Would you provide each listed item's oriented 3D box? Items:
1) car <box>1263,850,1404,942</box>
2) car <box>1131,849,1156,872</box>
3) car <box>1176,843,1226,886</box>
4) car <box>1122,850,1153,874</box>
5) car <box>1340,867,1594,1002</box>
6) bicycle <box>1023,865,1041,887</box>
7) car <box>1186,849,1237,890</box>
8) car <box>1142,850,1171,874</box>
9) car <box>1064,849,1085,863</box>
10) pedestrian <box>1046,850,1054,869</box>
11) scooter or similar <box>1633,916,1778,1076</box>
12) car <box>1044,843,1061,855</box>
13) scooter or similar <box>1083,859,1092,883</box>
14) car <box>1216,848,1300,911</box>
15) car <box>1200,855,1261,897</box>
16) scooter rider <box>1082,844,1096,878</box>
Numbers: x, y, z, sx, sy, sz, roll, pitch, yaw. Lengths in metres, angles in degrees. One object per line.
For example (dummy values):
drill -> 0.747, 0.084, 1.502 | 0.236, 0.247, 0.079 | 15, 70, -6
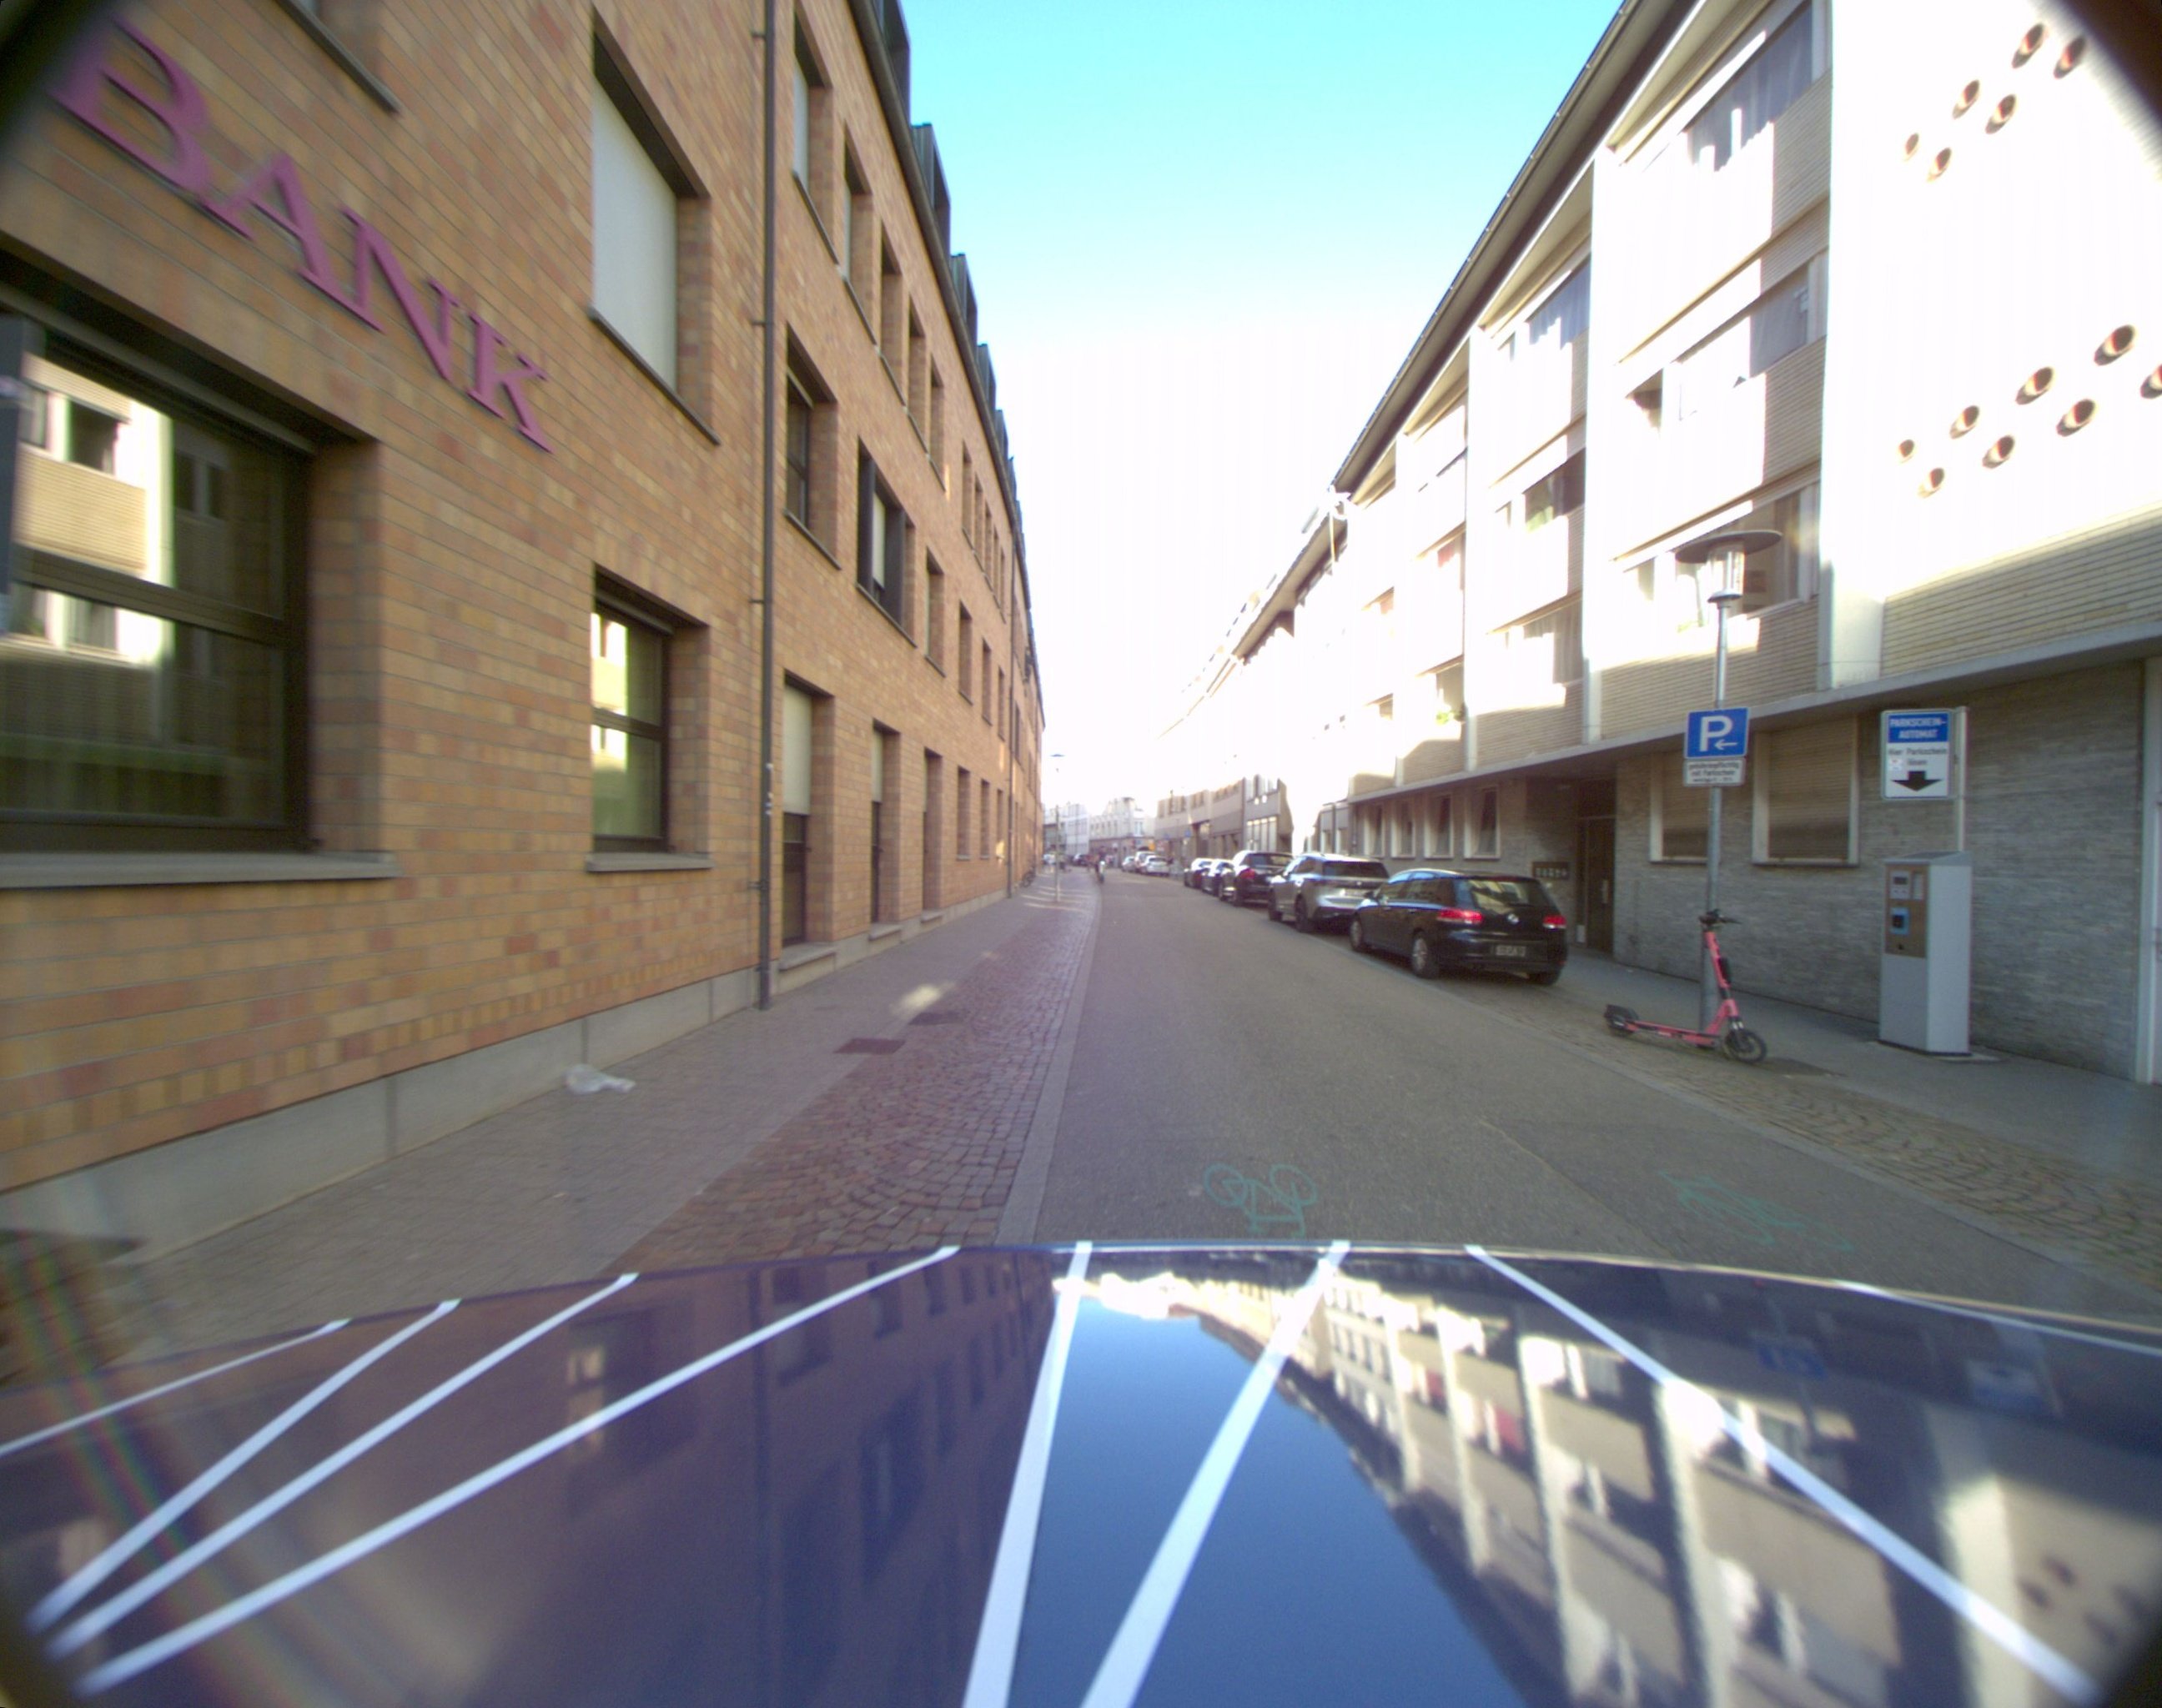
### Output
car -> 5.231, 0.780, 16.321 | 1.672, 1.651, 4.081 | 3, 0, 2
car -> 5.147, 0.552, 62.956 | 1.692, 1.765, 3.655 | 3, 0, 0
car -> 6.142, 0.497, 39.341 | 1.998, 2.002, 4.000 | 3, 0, 2
car -> 5.094, 0.715, 69.065 | 2.000, 2.002, 3.997 | 3, 0, -5
car -> 5.236, 0.985, 10.951 | 1.739, 1.477, 3.812 | 3, 0, 2
bicycle -> -2.154, 0.957, 33.780 | 0.643, 0.876, 2.556 | 2, 1, -1
car -> 5.951, 0.658, 35.124 | 1.672, 1.694, 4.013 | 3, 0, 2
car -> 5.638, 0.581, 57.083 | 1.692, 1.669, 3.507 | 3, 0, 0
car -> -0.880, 0.237, 99.114 | 1.936, 1.641, 3.832 | 1, 1, -12
pedestrian -> -2.605, 0.443, 64.033 | 0.543, 1.536, 0.405 | 2, 1, 0
scooter or similar -> 5.163, 1.138, 6.313 | 0.209, 1.177, 0.880 | 0, 1, -38
car -> -4.349, -0.745, 114.917 | 1.936, 1.641, 3.832 | 2, 1, -12
scooter or similar -> 0.322, 0.854, 38.876 | 0.337, 1.179, 1.279 | -1, 0, -3
car -> 5.386, 0.706, 23.578 | 1.672, 1.694, 4.013 | 3, 0, 2
car -> 5.810, 0.814, 29.943 | 1.672, 1.452, 3.863 | 3, 0, 2
scooter rider -> 0.393, 0.349, 38.796 | 0.649, 1.716, 0.702 | 1, 0, -4
